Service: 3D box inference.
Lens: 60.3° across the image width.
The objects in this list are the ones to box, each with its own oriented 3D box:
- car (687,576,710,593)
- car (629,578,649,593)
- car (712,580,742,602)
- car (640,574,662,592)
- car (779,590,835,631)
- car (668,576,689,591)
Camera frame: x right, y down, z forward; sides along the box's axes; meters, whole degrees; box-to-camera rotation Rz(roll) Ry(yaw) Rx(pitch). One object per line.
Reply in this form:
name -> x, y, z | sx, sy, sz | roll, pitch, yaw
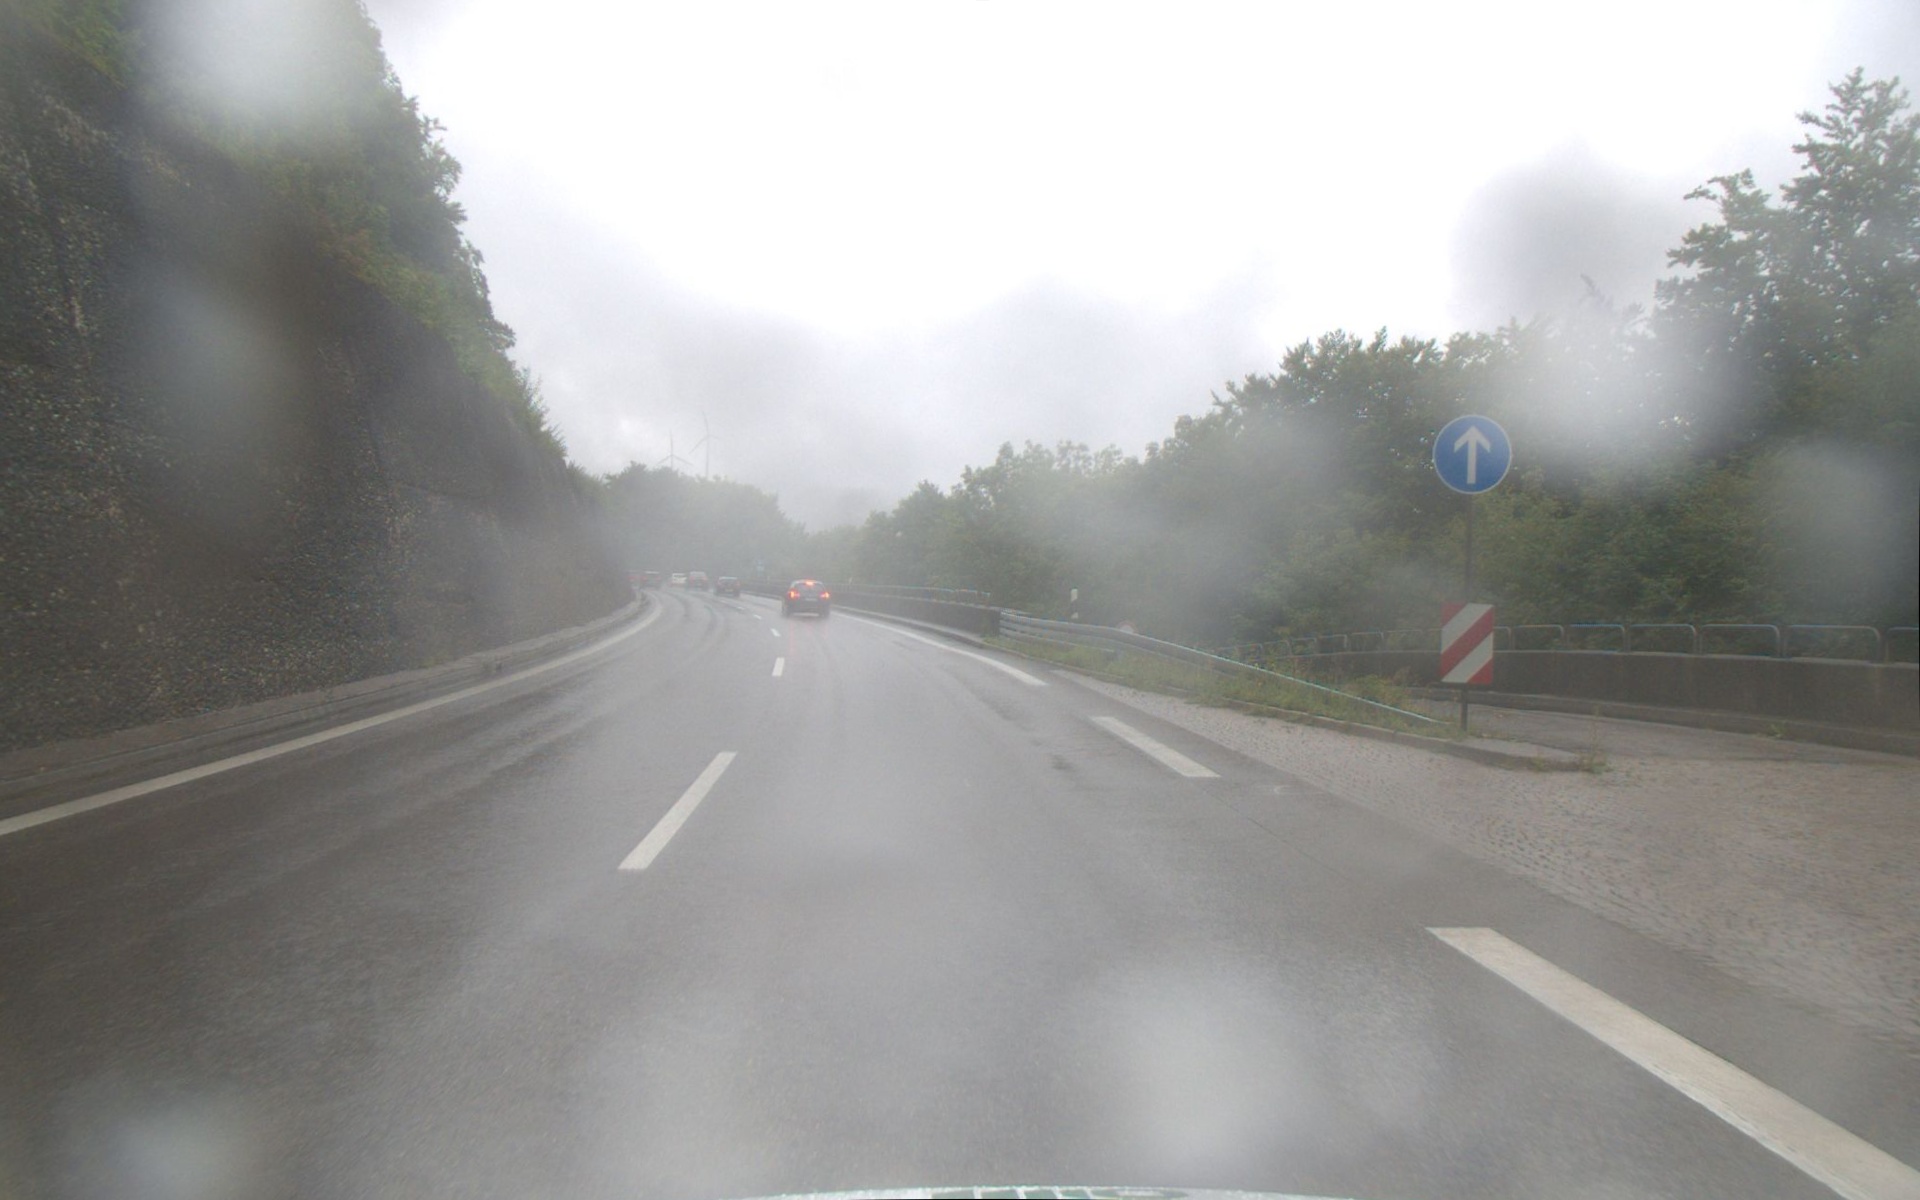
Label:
car -> -24.406, -1.482, 154.307 | 1.871, 1.525, 3.987 | 2, 0, -13
car -> -34.424, -1.606, 177.418 | 1.872, 1.525, 3.985 | 2, 0, -15
car -> -17.737, -0.695, 125.842 | 1.871, 1.525, 3.986 | 2, 0, -14
car -> -28.254, -1.584, 151.227 | 1.871, 1.525, 3.987 | 2, 0, -13
car -> -6.313, 0.411, 68.106 | 1.870, 1.525, 3.989 | 2, 0, -11
car -> -29.764, -1.788, 174.925 | 1.871, 1.525, 3.986 | 2, 0, -14
